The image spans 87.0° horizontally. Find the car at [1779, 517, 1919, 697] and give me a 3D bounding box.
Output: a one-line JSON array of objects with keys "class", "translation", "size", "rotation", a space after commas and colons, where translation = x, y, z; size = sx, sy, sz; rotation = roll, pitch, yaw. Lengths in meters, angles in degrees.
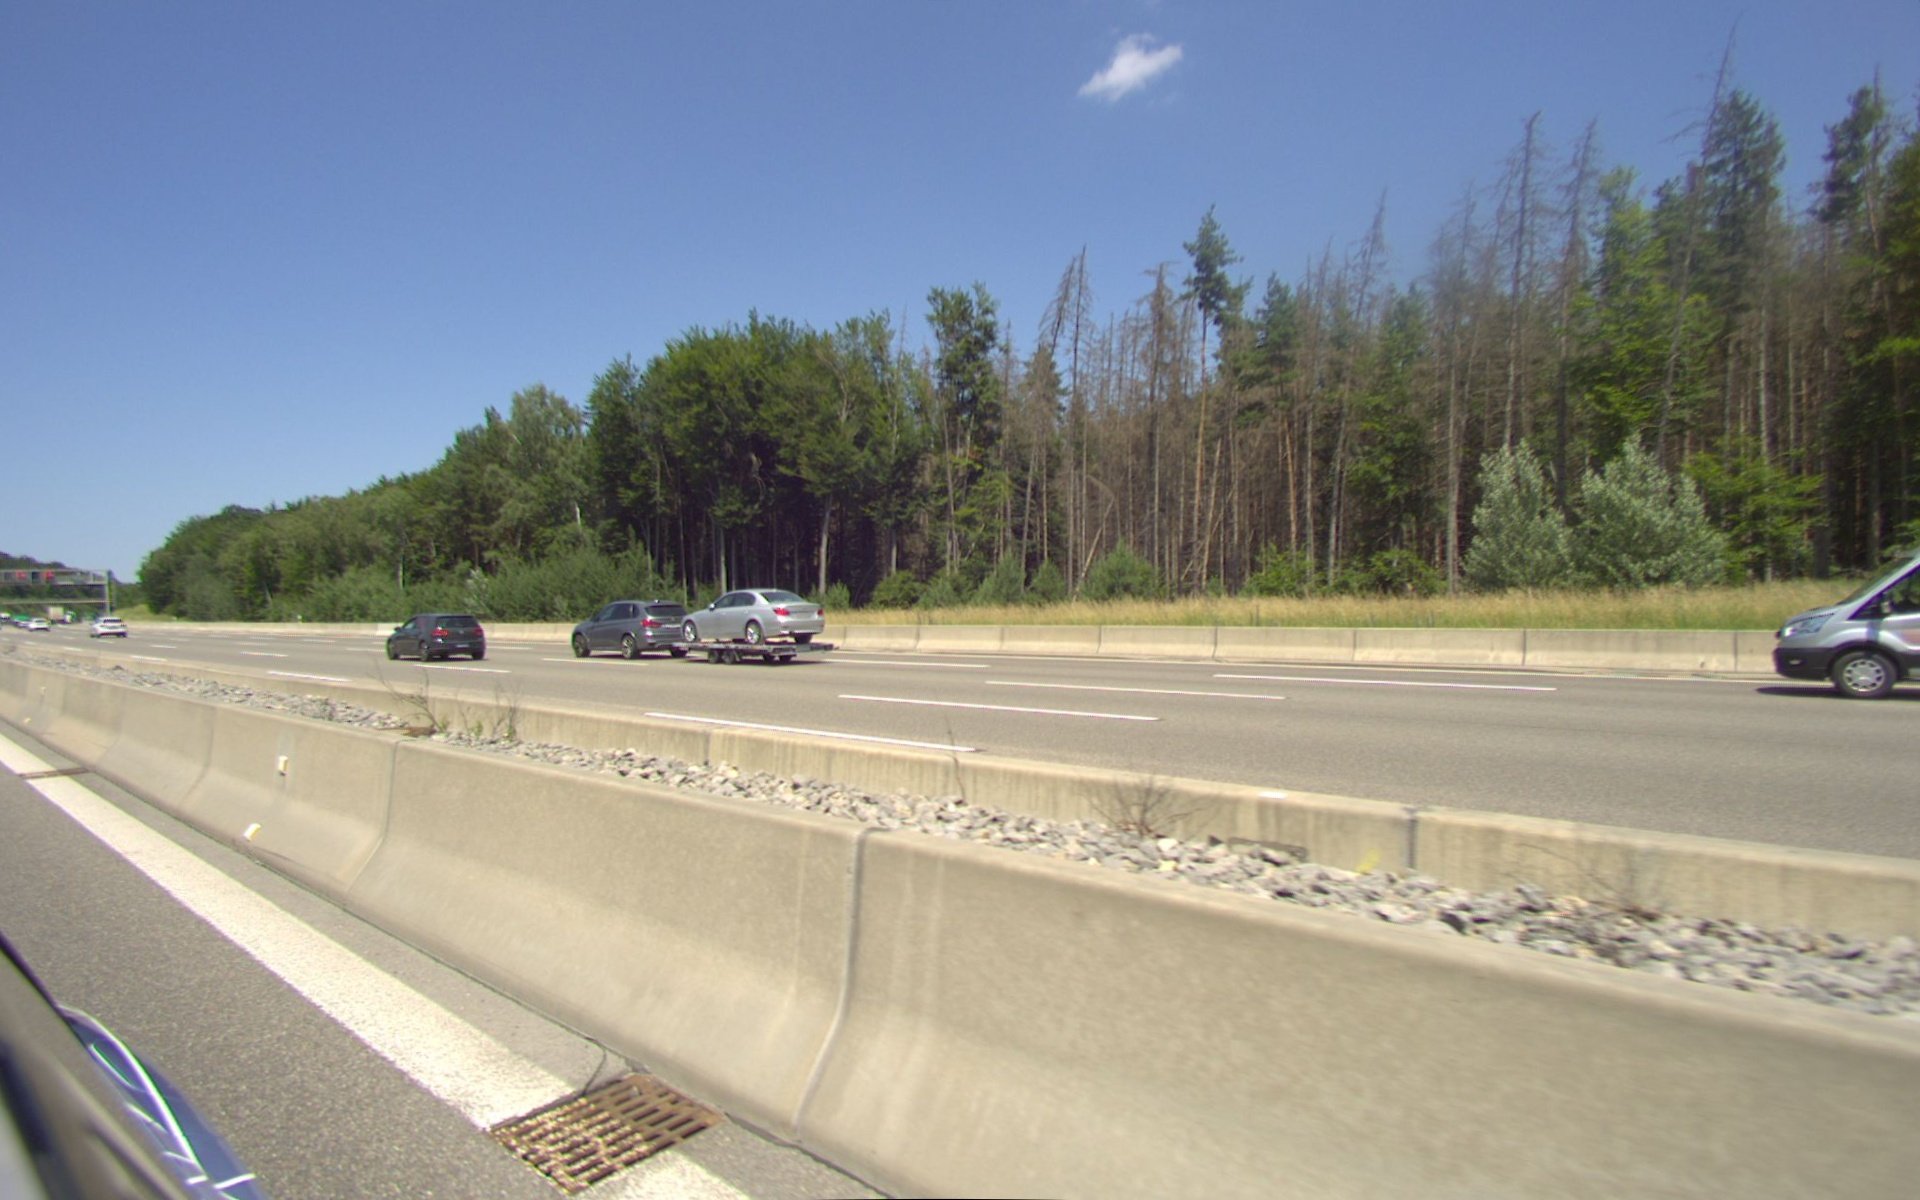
[{"class": "car", "translation": [14.953, 0.061, 13.389], "size": [6.340, 2.431, 1.929], "rotation": [-1, -1, 40]}]

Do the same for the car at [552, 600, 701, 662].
[{"class": "car", "translation": [-10.454, 0.937, 31.453], "size": [5.579, 1.772, 1.794], "rotation": [-1, -1, 41]}]

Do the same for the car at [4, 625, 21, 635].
[{"class": "car", "translation": [-150.651, 4.769, 160.881], "size": [4.000, 1.364, 1.627], "rotation": [-1, 0, 43]}]

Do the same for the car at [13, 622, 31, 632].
[{"class": "car", "translation": [-134.689, 3.834, 145.330], "size": [2.907, 1.364, 1.628], "rotation": [-1, 0, 42]}]

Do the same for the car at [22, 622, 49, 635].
[{"class": "car", "translation": [-104.097, 3.221, 113.927], "size": [3.869, 1.410, 1.971], "rotation": [-1, 0, 44]}]

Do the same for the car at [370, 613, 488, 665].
[{"class": "car", "translation": [-16.556, 1.171, 31.454], "size": [4.574, 1.475, 1.712], "rotation": [-1, -1, 41]}]

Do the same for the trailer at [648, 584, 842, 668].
[{"class": "trailer", "translation": [-5.990, 0.680, 27.551], "size": [6.149, 2.066, 1.835], "rotation": [-1, -1, 41]}]

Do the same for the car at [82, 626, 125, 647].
[{"class": "car", "translation": [-62.551, 2.654, 73.904], "size": [4.781, 1.475, 1.712], "rotation": [-1, -1, 41]}]
